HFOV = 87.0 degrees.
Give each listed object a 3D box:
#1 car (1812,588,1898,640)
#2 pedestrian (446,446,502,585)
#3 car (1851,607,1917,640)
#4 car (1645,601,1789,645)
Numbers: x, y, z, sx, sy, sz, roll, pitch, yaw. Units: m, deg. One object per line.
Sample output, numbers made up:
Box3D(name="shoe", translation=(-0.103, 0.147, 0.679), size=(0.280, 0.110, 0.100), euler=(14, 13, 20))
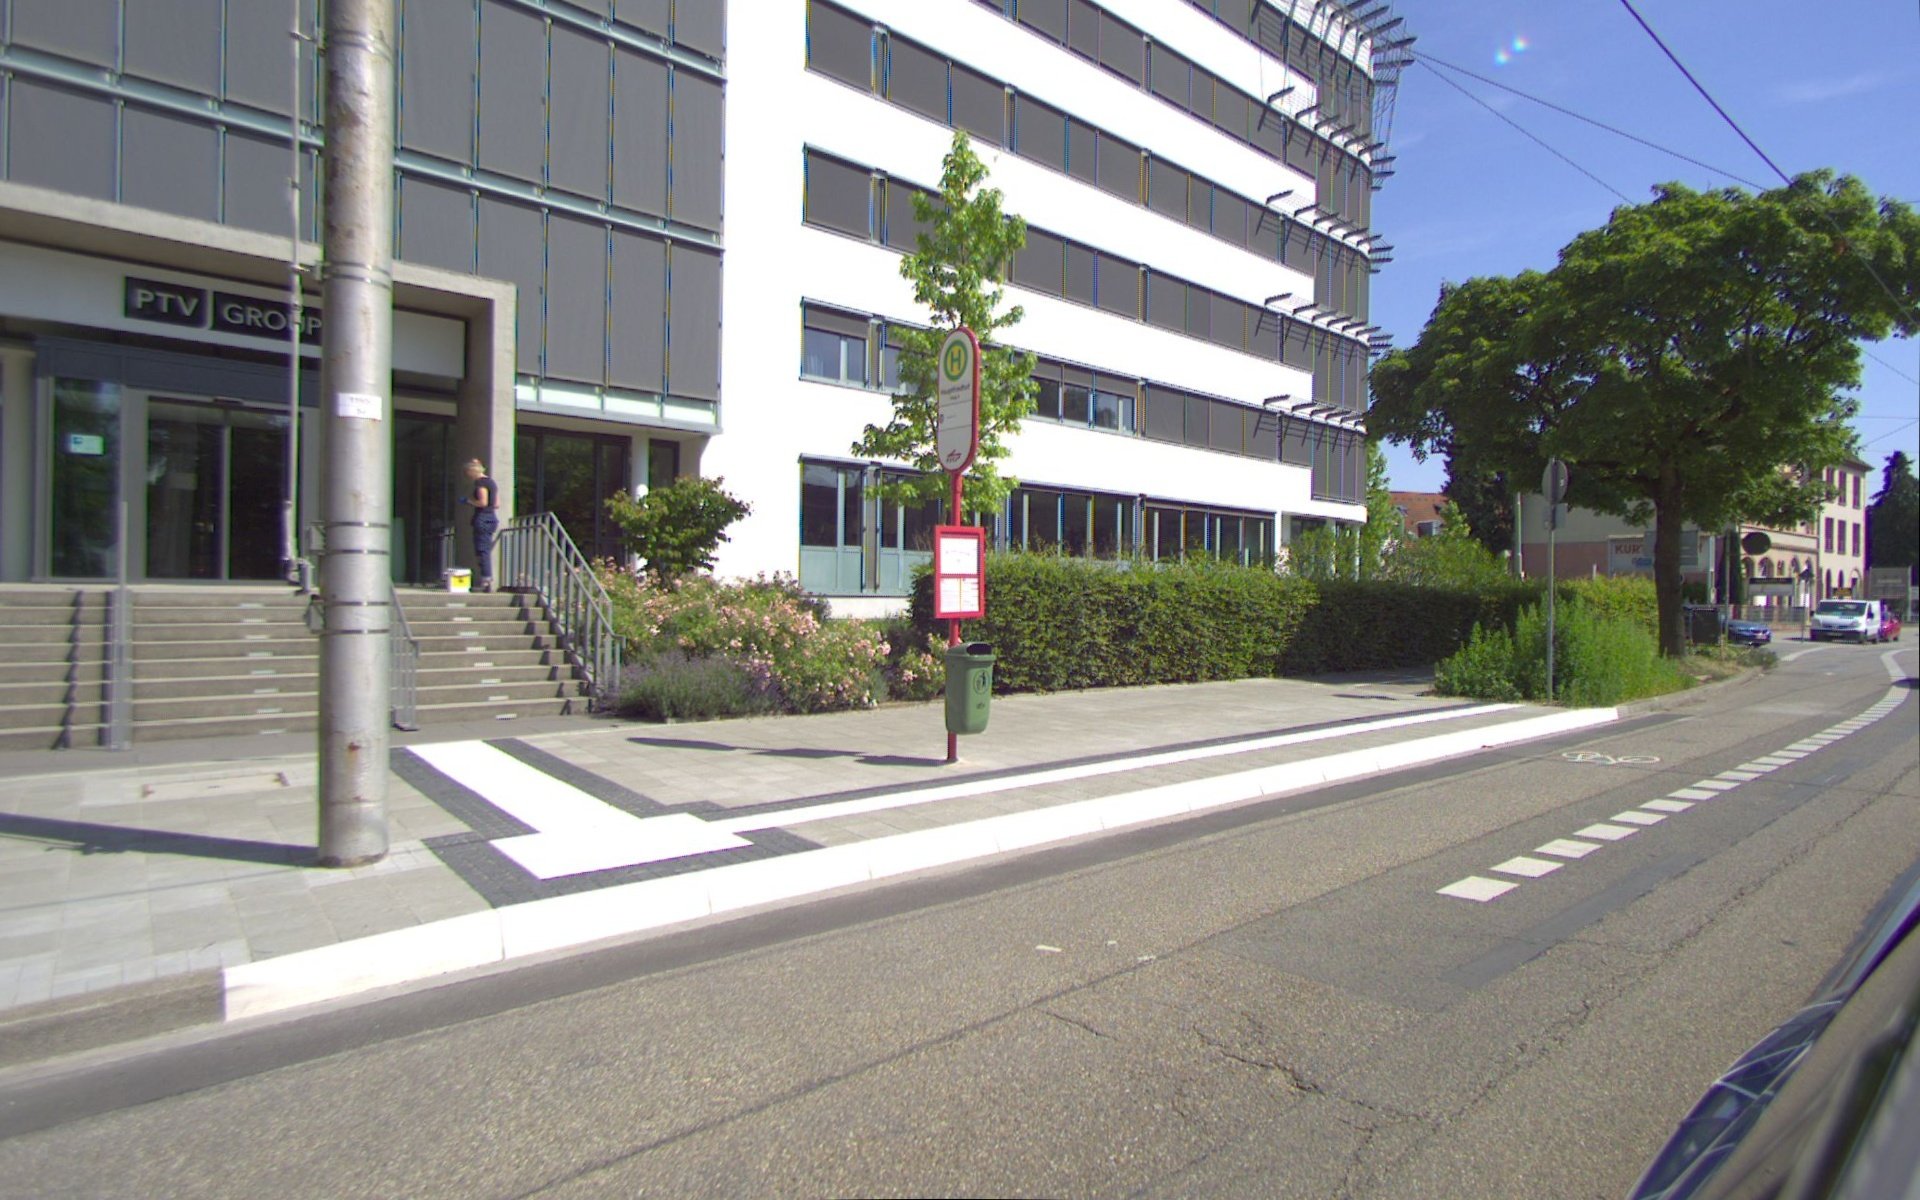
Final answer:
Box3D(name="car", translation=(39.501, 0.574, 44.620), size=(5.097, 2.080, 1.982), euler=(0, 2, -39))
Box3D(name="pedestrian", translation=(-6.312, -1.076, 13.143), size=(0.537, 1.750, 0.499), euler=(1, 0, -41))
Box3D(name="car", translation=(44.423, 1.096, 48.634), size=(4.235, 1.461, 1.726), euler=(0, 2, -40))
Box3D(name="car", translation=(26.446, 0.761, 35.445), size=(1.641, 1.405, 3.754), euler=(1, 0, -39))
